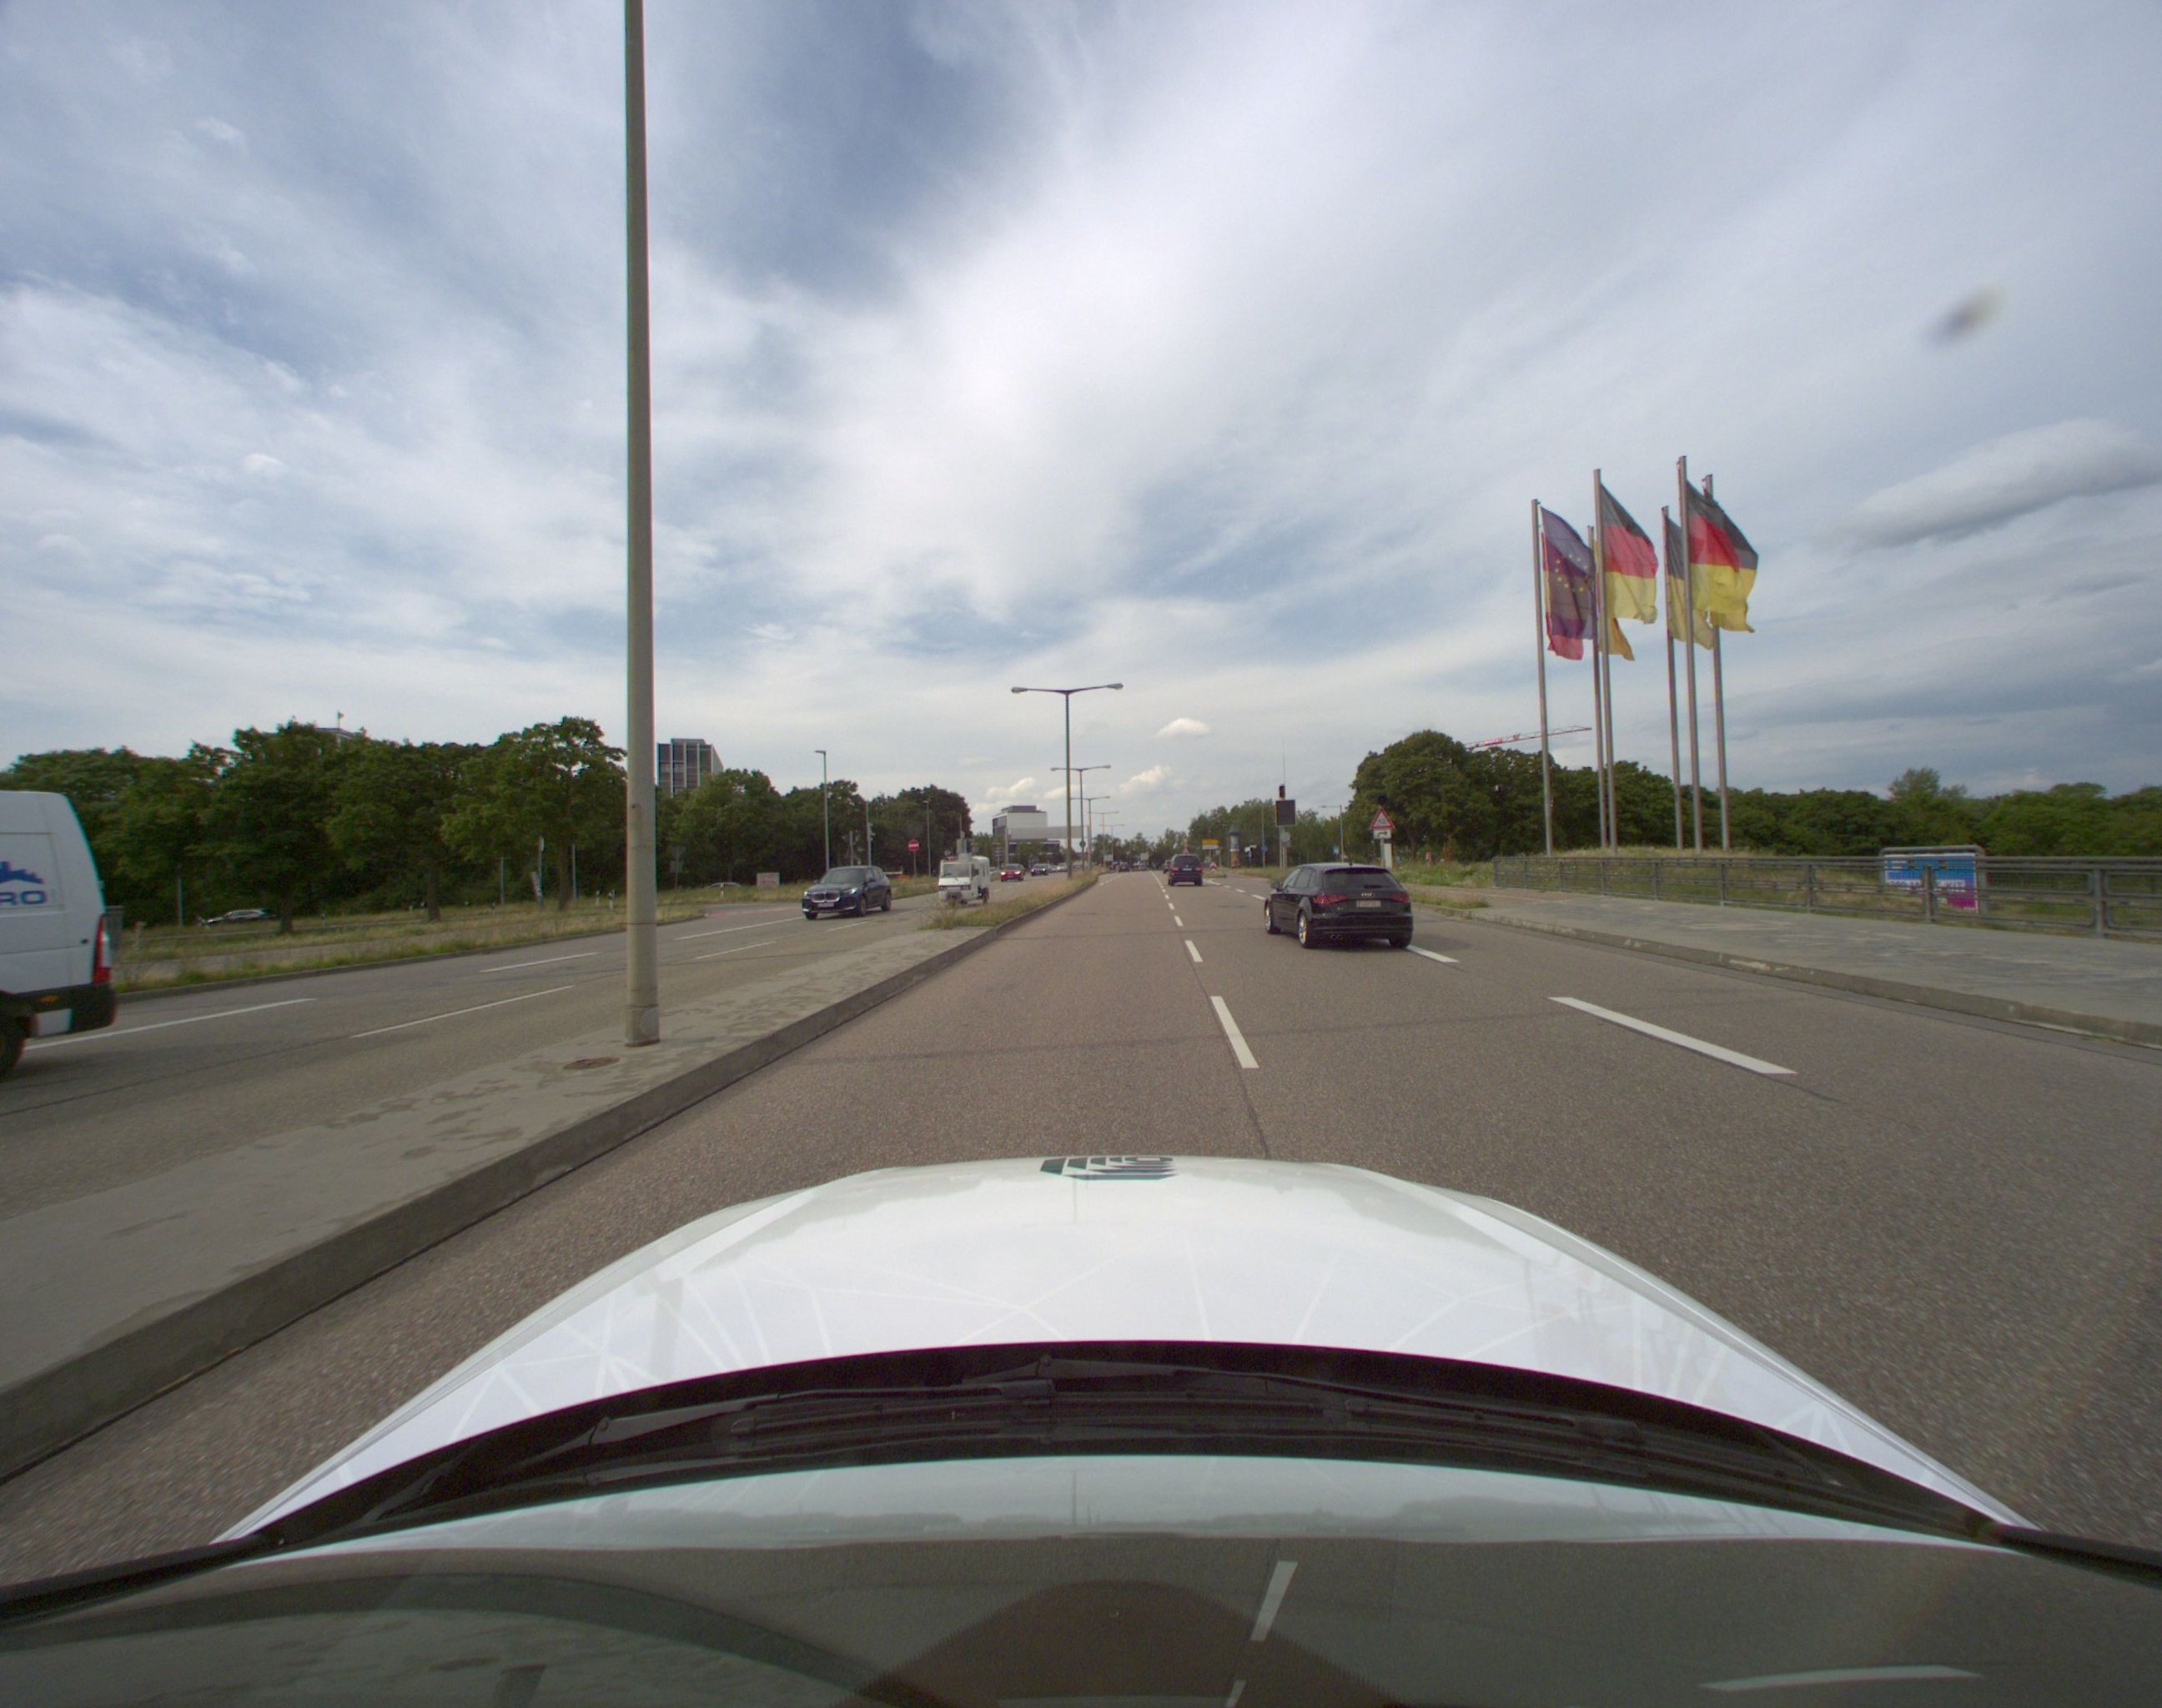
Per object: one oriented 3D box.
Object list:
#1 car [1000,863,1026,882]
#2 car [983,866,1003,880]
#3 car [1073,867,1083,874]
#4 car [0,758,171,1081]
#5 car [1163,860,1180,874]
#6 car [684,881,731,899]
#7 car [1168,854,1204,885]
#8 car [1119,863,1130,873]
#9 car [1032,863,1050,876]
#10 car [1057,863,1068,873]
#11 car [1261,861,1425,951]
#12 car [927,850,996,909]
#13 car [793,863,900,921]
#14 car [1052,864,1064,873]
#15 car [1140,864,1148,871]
[{"bbox_3d":[-6.091,1.636,73.124,1.645,1.574,4.341,-4,-1,2],"label":"car"},{"bbox_3d":[-11.003,2.359,101.810,1.986,1.750,4.001,0,0,2],"label":"car"},{"bbox_3d":[-0.595,3.803,184.158,1.785,1.525,4.599,-3,-2,4],"label":"car"},{"bbox_3d":[-10.159,0.601,4.688,2.041,2.643,6.414,-3,0,8],"label":"car"},{"bbox_3d":[10.812,1.557,97.420,1.723,1.653,4.118,-1,-1,3],"label":"car"},{"bbox_3d":[-34.959,3.339,76.256,3.882,1.396,1.562,-2,-1,-22],"label":"car"},{"bbox_3d":[5.816,0.855,45.439,1.723,1.653,4.118,-1,-1,3],"label":"car"},{"bbox_3d":[7.154,2.278,132.564,1.723,1.653,4.118,-1,-1,3],"label":"car"},{"bbox_3d":[-4.959,1.908,100.738,1.738,1.475,4.567,-2,-1,2],"label":"car"},{"bbox_3d":[-3.286,2.479,145.361,1.739,1.598,4.566,-2,-1,1],"label":"car"},{"bbox_3d":[4.490,0.825,14.622,1.724,1.395,4.116,0,-1,1],"label":"car"},{"bbox_3d":[-4.170,0.849,28.943,1.532,1.871,3.576,-3,0,5],"label":"car"},{"bbox_3d":[-7.601,1.186,26.933,1.738,1.585,4.593,-3,0,5],"label":"car"},{"bbox_3d":[-4.395,2.776,156.580,1.658,1.419,4.098,-3,0,5],"label":"car"},{"bbox_3d":[13.331,2.792,172.414,1.723,1.526,4.118,-1,-1,3],"label":"car"}]
